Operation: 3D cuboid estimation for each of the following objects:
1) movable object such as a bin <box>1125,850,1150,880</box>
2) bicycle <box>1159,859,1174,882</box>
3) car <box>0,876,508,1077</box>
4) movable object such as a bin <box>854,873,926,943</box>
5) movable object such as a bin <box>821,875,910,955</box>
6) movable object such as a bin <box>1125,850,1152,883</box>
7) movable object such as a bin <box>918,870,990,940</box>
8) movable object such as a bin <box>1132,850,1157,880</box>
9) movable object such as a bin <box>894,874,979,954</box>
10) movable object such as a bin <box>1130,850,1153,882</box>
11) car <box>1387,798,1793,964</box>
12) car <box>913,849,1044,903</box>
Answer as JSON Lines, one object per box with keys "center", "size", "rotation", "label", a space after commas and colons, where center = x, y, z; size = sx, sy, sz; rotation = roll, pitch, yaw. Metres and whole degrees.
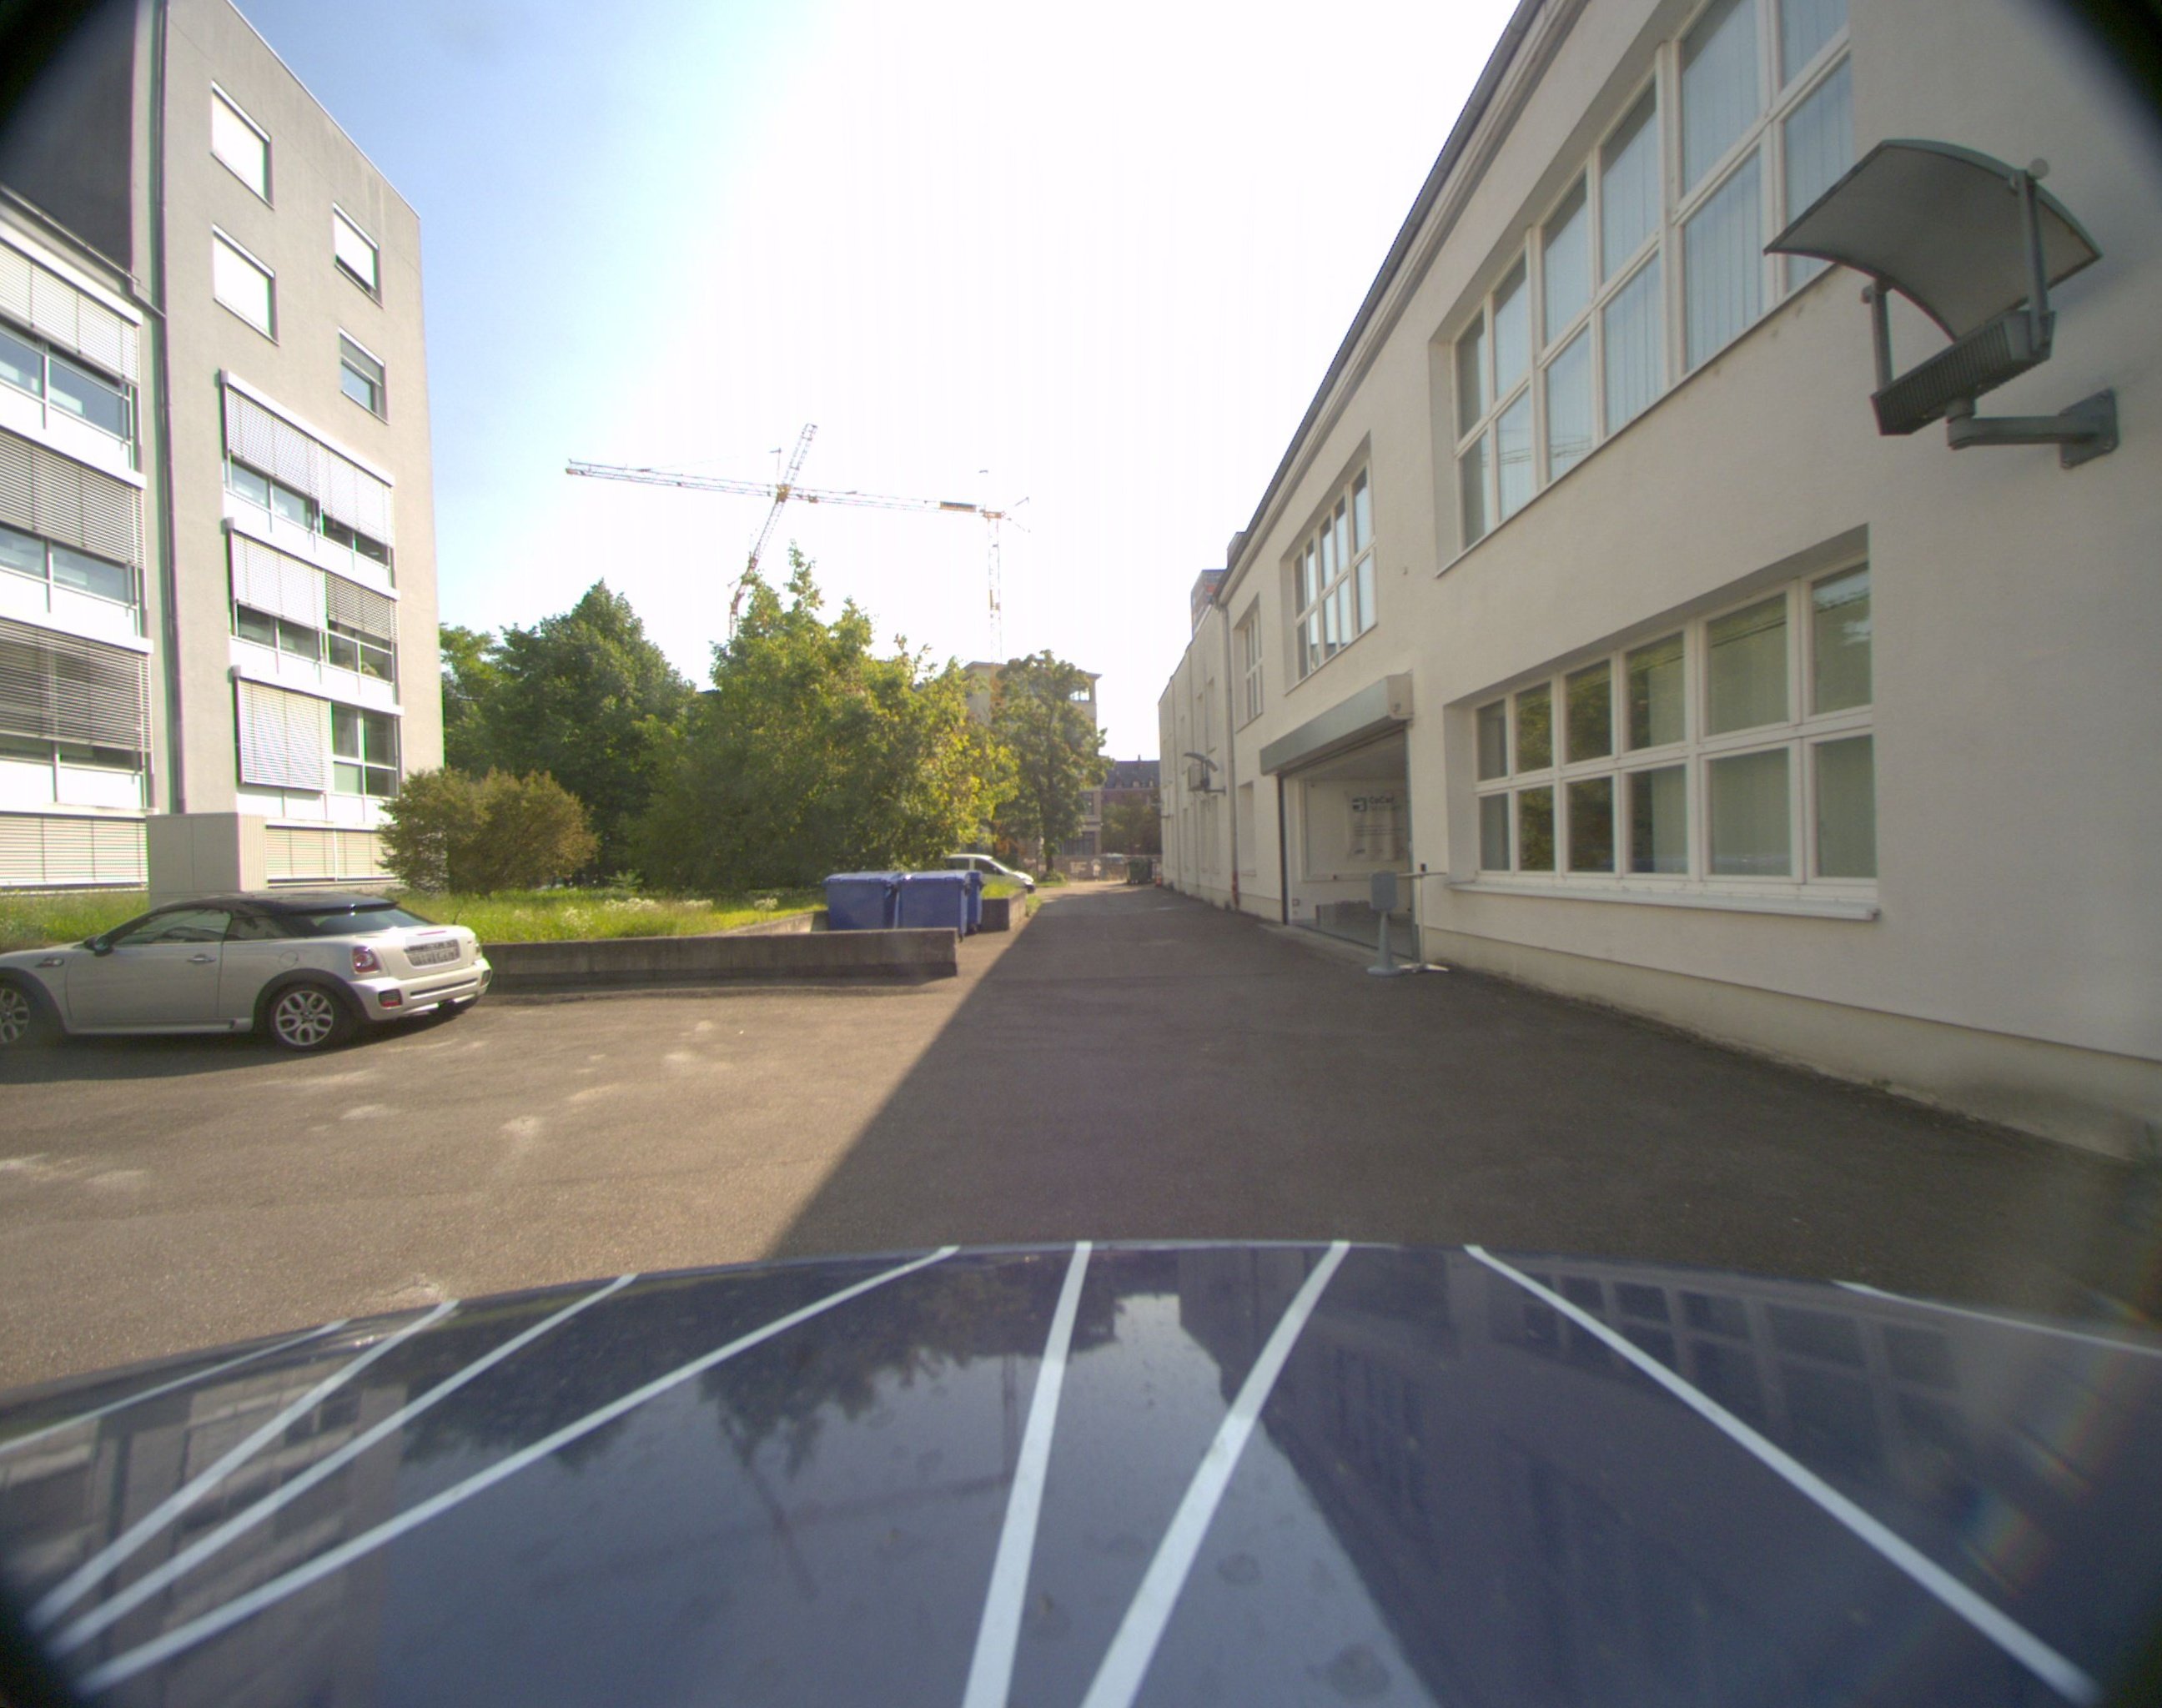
{"center": [3.359, 0.624, 45.315], "size": [1.184, 1.696, 1.376], "rotation": [-2, 1, -4], "label": "movable object such as a bin"}
{"center": [4.743, 0.913, 42.246], "size": [0.477, 1.206, 2.008], "rotation": [-2, 1, -2], "label": "bicycle"}
{"center": [-8.036, 1.069, 7.304], "size": [3.628, 1.536, 1.802], "rotation": [2, 1, -2], "label": "car"}
{"center": [-3.959, 1.095, 15.874], "size": [1.230, 1.333, 1.076], "rotation": [-2, 1, -5], "label": "movable object such as a bin"}
{"center": [-3.985, 1.110, 14.157], "size": [1.237, 1.333, 1.117], "rotation": [-2, 1, 3], "label": "movable object such as a bin"}
{"center": [3.052, 0.678, 40.707], "size": [1.184, 1.696, 1.376], "rotation": [-2, 1, -4], "label": "movable object such as a bin"}
{"center": [-2.625, 1.044, 15.871], "size": [1.313, 1.333, 1.100], "rotation": [-2, 1, -3], "label": "movable object such as a bin"}
{"center": [3.634, 0.626, 43.919], "size": [1.184, 1.696, 1.376], "rotation": [-2, 1, -4], "label": "movable object such as a bin"}
{"center": [-2.655, 1.076, 14.119], "size": [1.303, 1.333, 1.194], "rotation": [-2, 1, -1], "label": "movable object such as a bin"}
{"center": [3.360, 0.650, 42.509], "size": [1.183, 1.696, 1.395], "rotation": [-2, 1, 4], "label": "movable object such as a bin"}
{"center": [7.489, 0.365, 11.574], "size": [4.759, 2.080, 2.055], "rotation": [-3, 1, 0], "label": "car"}
{"center": [-4.129, 0.880, 31.267], "size": [4.969, 1.910, 2.044], "rotation": [-3, 1, 2], "label": "car"}
